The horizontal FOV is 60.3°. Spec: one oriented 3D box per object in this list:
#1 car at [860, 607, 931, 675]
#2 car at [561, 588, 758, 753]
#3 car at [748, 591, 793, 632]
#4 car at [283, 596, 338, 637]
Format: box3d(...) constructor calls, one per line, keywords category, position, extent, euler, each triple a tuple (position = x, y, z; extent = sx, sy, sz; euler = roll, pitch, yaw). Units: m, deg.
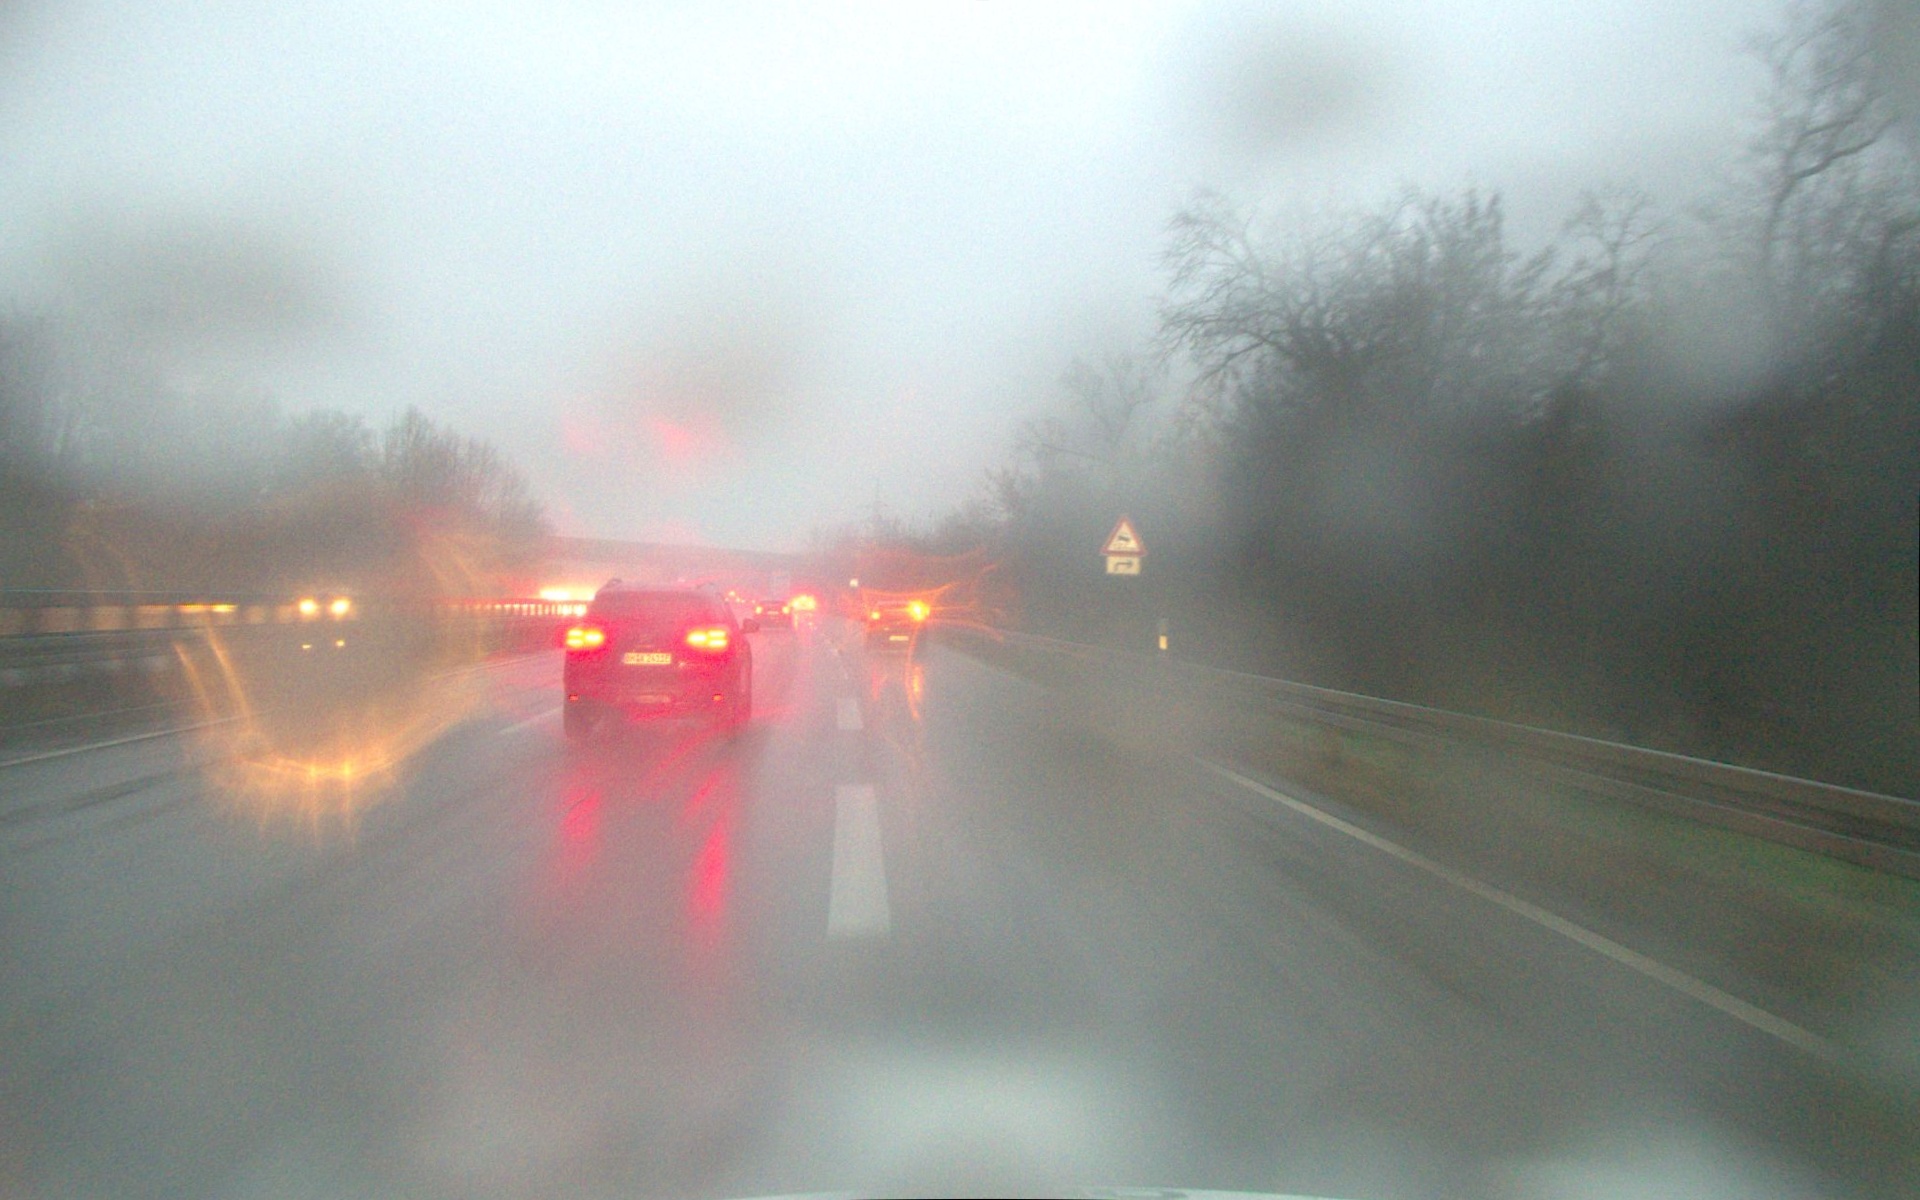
box3d(category="car", position=(-1.830, 1.101, 45.815), extent=(1.699, 1.453, 3.763), euler=(0, 5, -6))
box3d(category="car", position=(-3.343, 0.728, 19.101), extent=(1.955, 1.694, 3.994), euler=(0, 0, -6))
box3d(category="car", position=(-8.625, 0.493, 75.009), extent=(1.843, 1.645, 3.867), euler=(2, 1, -8))
box3d(category="car", position=(-25.555, 0.637, 65.001), extent=(1.721, 1.513, 3.968), euler=(2, 0, -25))
